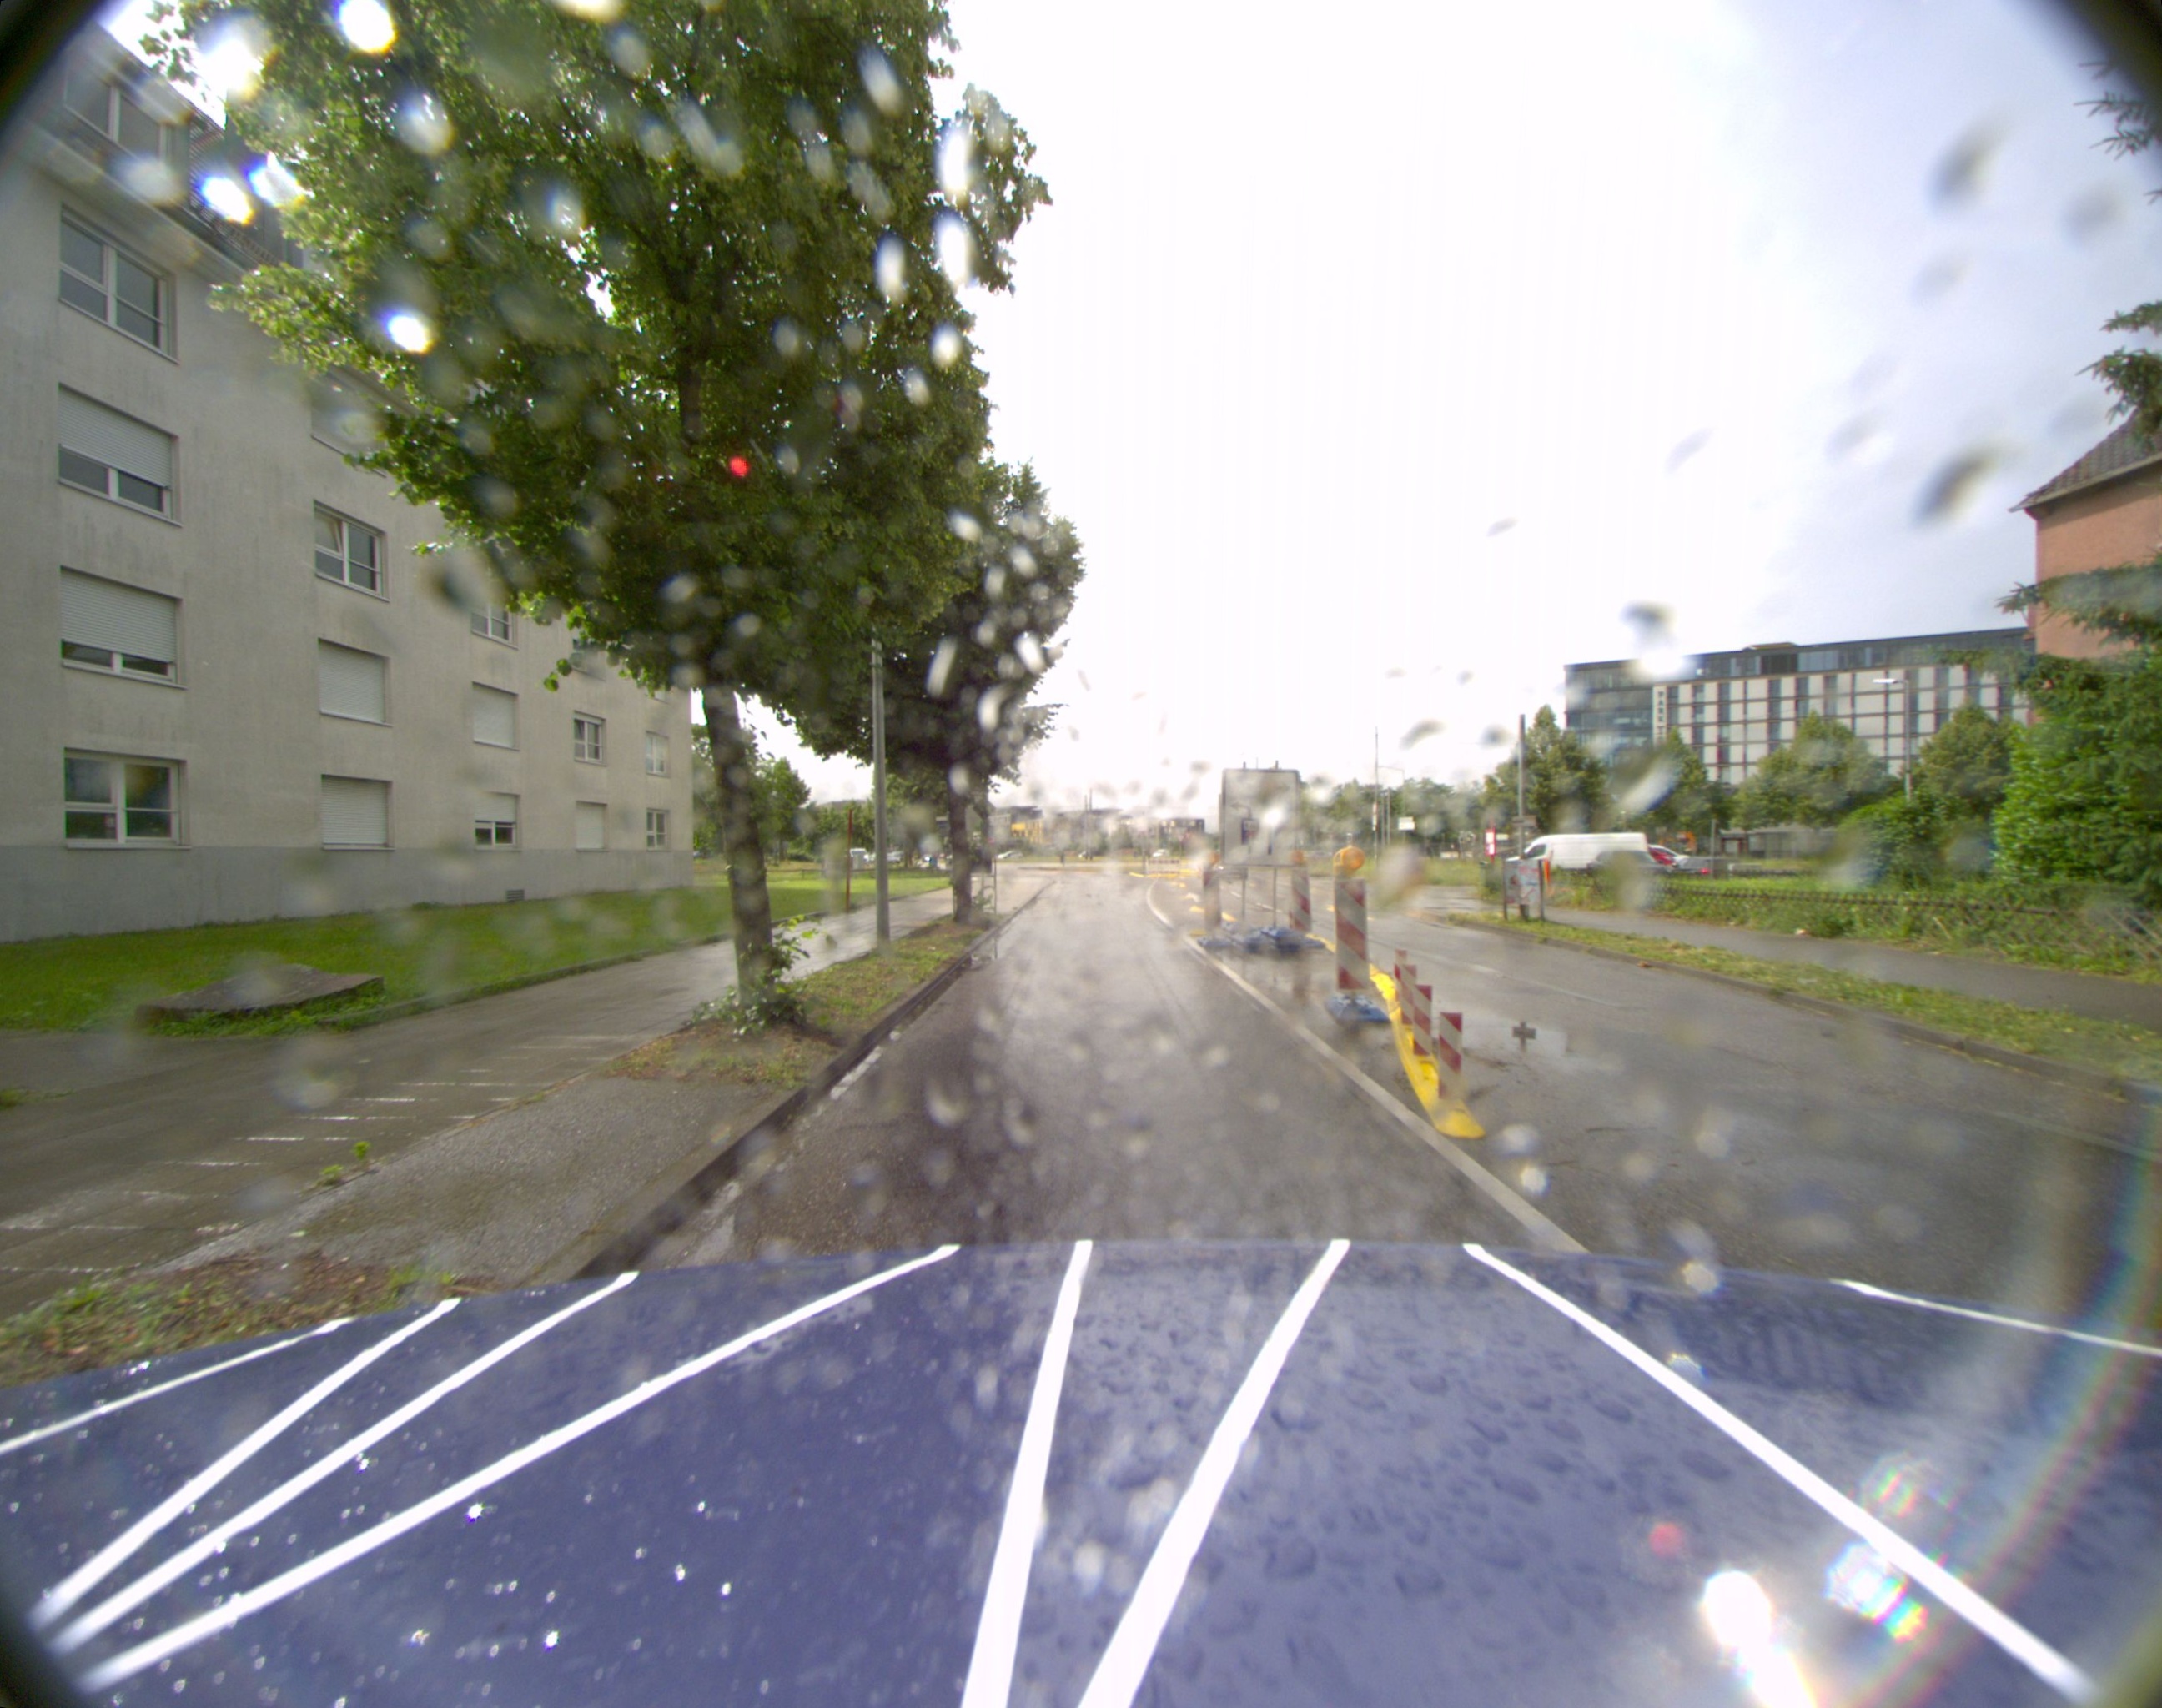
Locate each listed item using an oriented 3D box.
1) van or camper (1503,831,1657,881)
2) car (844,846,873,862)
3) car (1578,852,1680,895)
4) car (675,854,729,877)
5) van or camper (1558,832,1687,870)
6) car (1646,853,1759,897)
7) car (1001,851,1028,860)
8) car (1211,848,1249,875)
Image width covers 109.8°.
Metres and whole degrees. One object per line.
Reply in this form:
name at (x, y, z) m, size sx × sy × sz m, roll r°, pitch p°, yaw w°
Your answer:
van or camper at (27.478, 0.110, 42.175) m, size 6.963 × 2.632 × 2.516 m, roll 0°, pitch 1°, yaw 31°
car at (-25.017, -0.014, 85.363) m, size 1.896 × 1.703 × 4.218 m, roll 0°, pitch 1°, yaw -36°
car at (22.260, 0.754, 31.064) m, size 1.757 × 1.608 × 4.331 m, roll -1°, pitch 0°, yaw 12°
car at (-26.781, 0.782, 53.831) m, size 1.934 × 1.539 × 3.771 m, roll 0°, pitch 0°, yaw -1°
van or camper at (33.290, -0.166, 47.044) m, size 6.381 × 2.176 × 2.445 m, roll 0°, pitch 1°, yaw 31°
car at (24.930, 0.802, 30.669) m, size 1.757 × 1.608 × 4.262 m, roll -1°, pitch 0°, yaw 12°
car at (-11.007, 0.233, 126.521) m, size 4.125 × 1.521 × 1.665 m, roll -1°, pitch 0°, yaw -31°
car at (8.807, 0.420, 45.200) m, size 1.683 × 1.499 × 3.794 m, roll 0°, pitch 0°, yaw 3°
